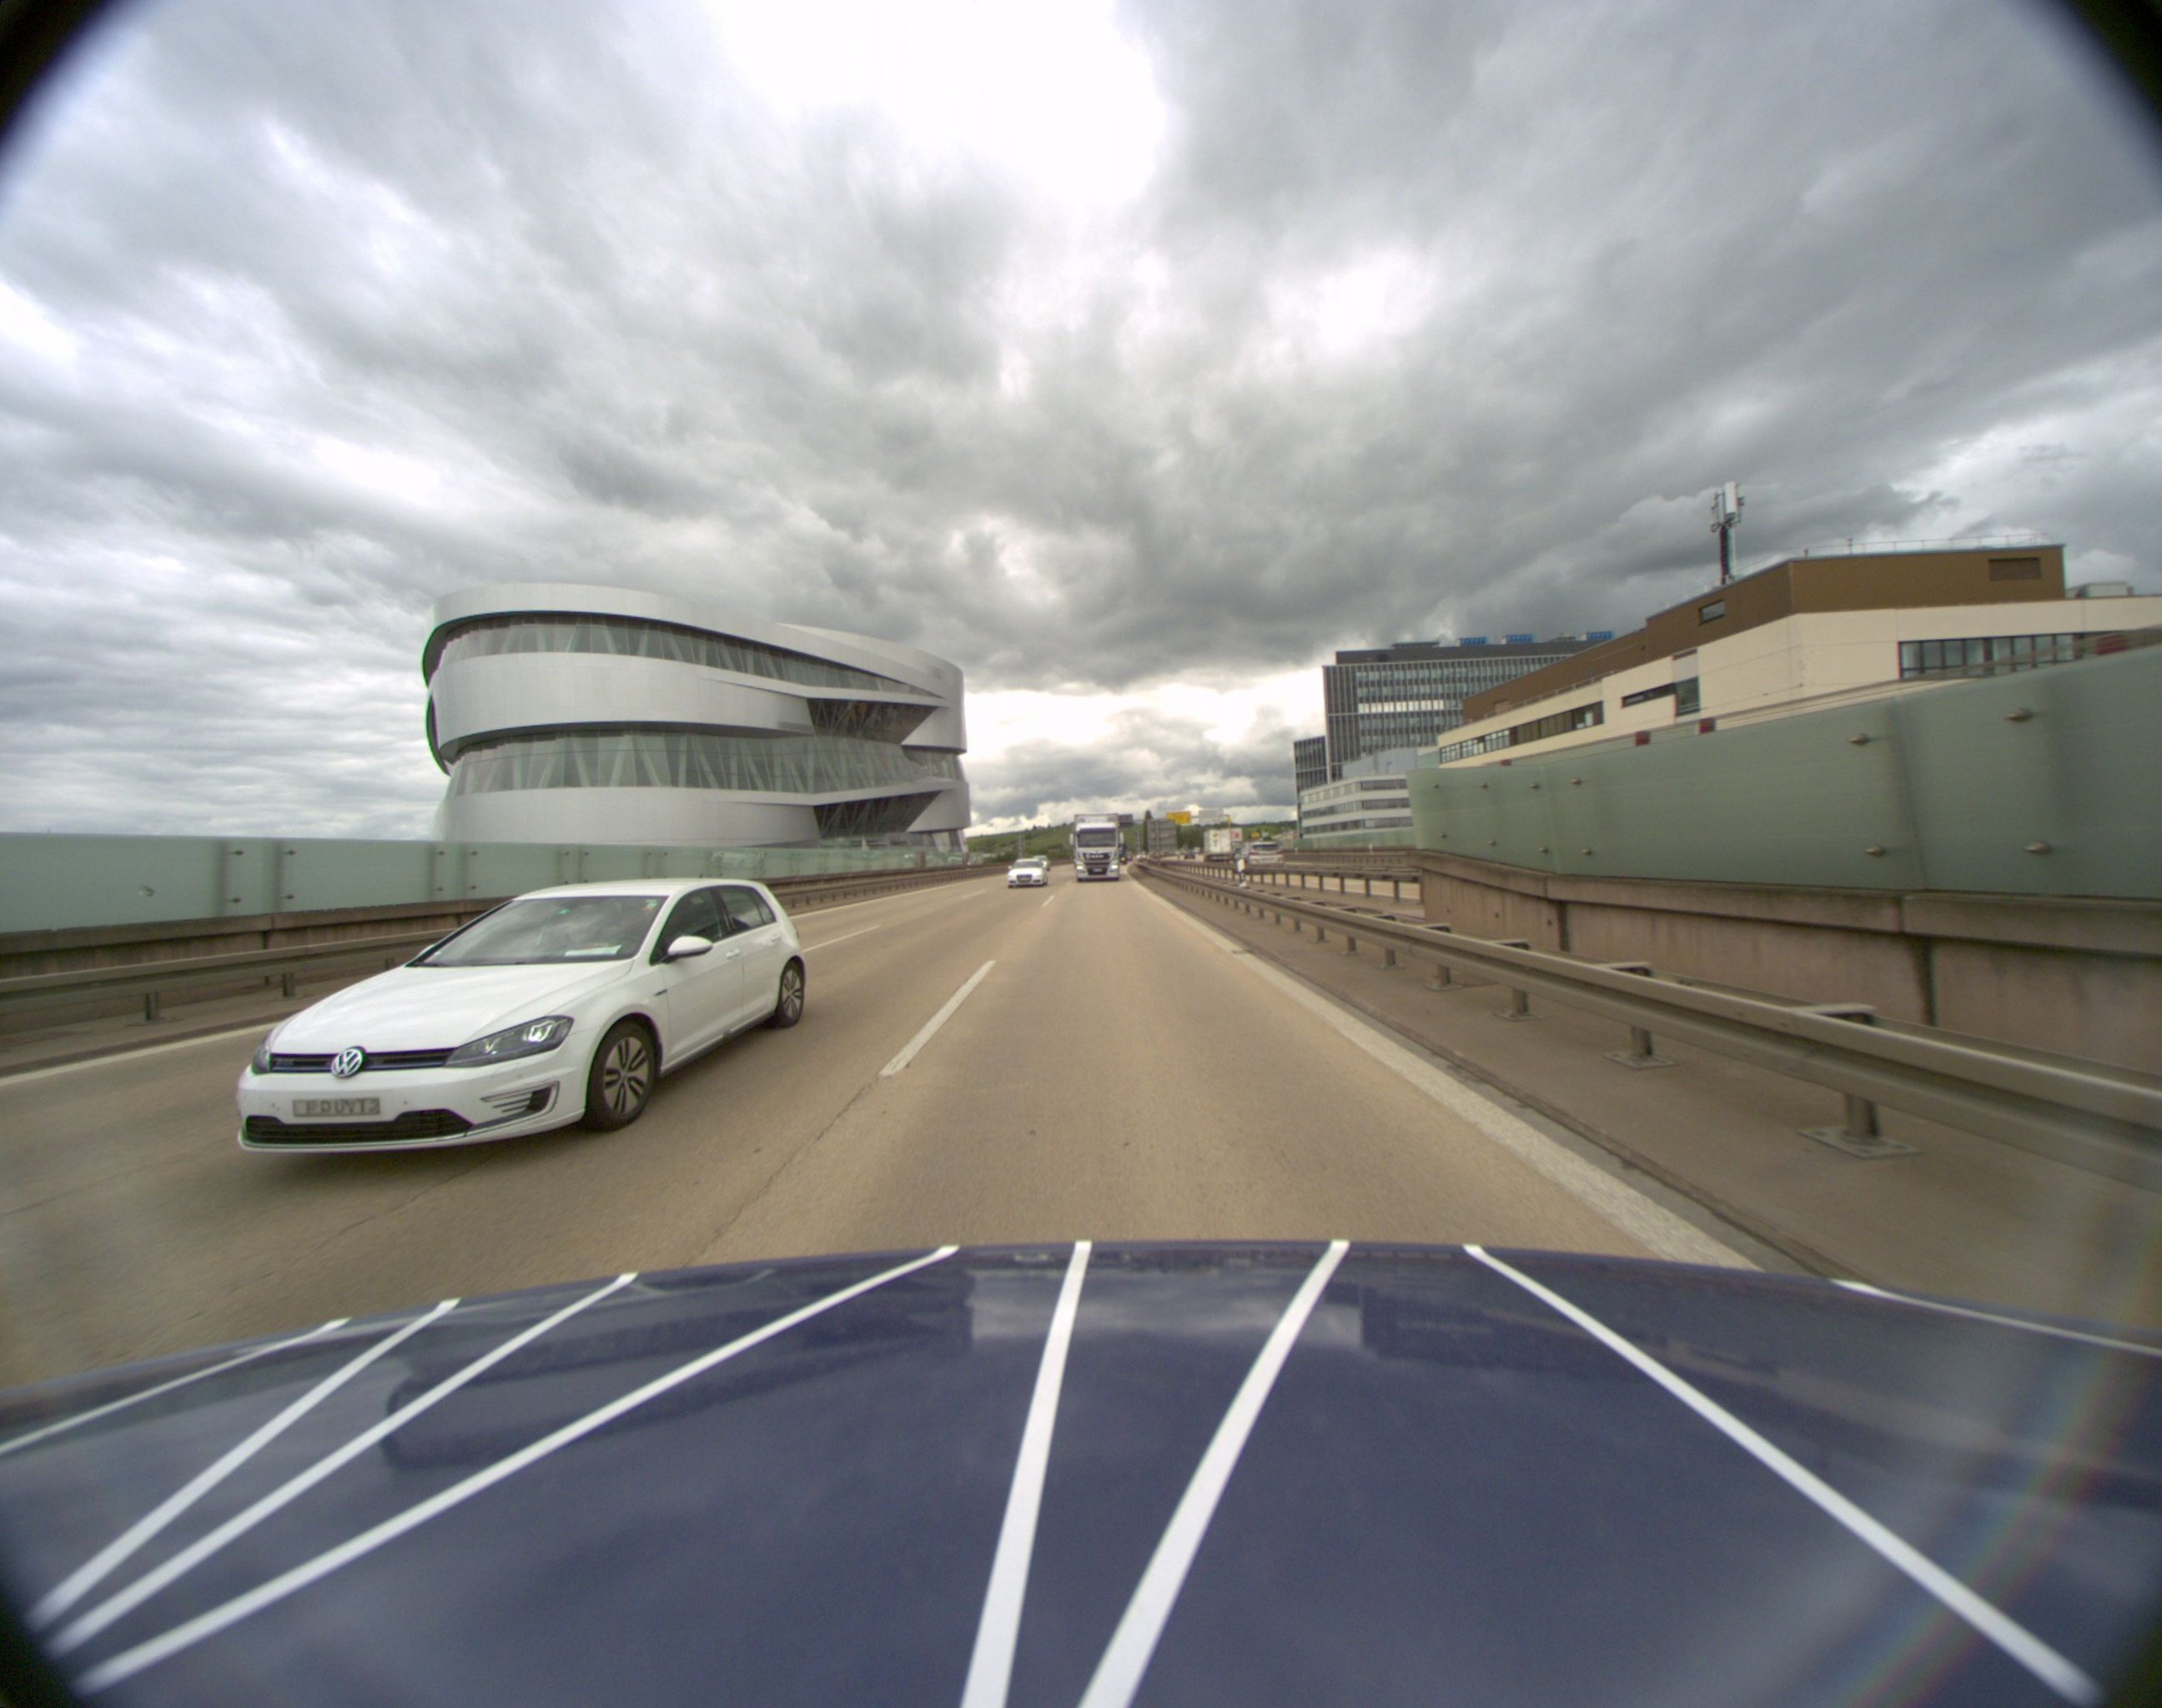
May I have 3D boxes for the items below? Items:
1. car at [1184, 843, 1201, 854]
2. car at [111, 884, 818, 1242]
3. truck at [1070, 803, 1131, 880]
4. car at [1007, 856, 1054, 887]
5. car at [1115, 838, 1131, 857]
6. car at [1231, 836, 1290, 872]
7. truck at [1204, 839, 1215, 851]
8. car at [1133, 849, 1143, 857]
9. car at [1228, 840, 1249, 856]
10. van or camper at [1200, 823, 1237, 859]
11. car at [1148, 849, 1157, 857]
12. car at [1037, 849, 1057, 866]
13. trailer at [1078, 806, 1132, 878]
[{"bbox_3d":[18.055,-0.911,123.287,2.027,1.602,4.814,-2,0,-1],"label":"car"},{"bbox_3d":[-3.526,1.038,5.518,1.759,1.443,4.072,-2,0,0],"label":"car"},{"bbox_3d":[1.289,-0.684,45.077,2.945,4.136,6.294,-2,0,6],"label":"truck"},{"bbox_3d":[-2.557,0.880,39.106,1.847,1.443,3.933,-2,0,4],"label":"car"},{"bbox_3d":[5.900,-0.944,107.297,2.144,2.494,4.525,-2,1,3],"label":"car"},{"bbox_3d":[9.048,-0.005,38.659,1.849,1.663,4.407,-2,0,0],"label":"car"},{"bbox_3d":[42.498,-2.940,250.495,3.267,3.836,13.062,-3,0,11],"label":"truck"},{"bbox_3d":[12.694,-0.192,169.106,1.757,1.609,4.818,-1,0,10],"label":"car"},{"bbox_3d":[18.135,-0.699,87.569,1.758,1.737,4.370,-2,0,4],"label":"car"},{"bbox_3d":[13.927,-1.279,77.346,2.411,3.368,6.954,-2,1,0],"label":"van or camper"},{"bbox_3d":[18.230,-0.207,192.511,1.997,2.002,4.002,-2,1,9],"label":"car"},{"bbox_3d":[-3.625,0.364,80.818,1.785,1.624,3.628,-2,1,2],"label":"car"},{"bbox_3d":[1.783,-0.748,50.291,2.879,4.104,11.223,-2,0,5],"label":"trailer"}]
